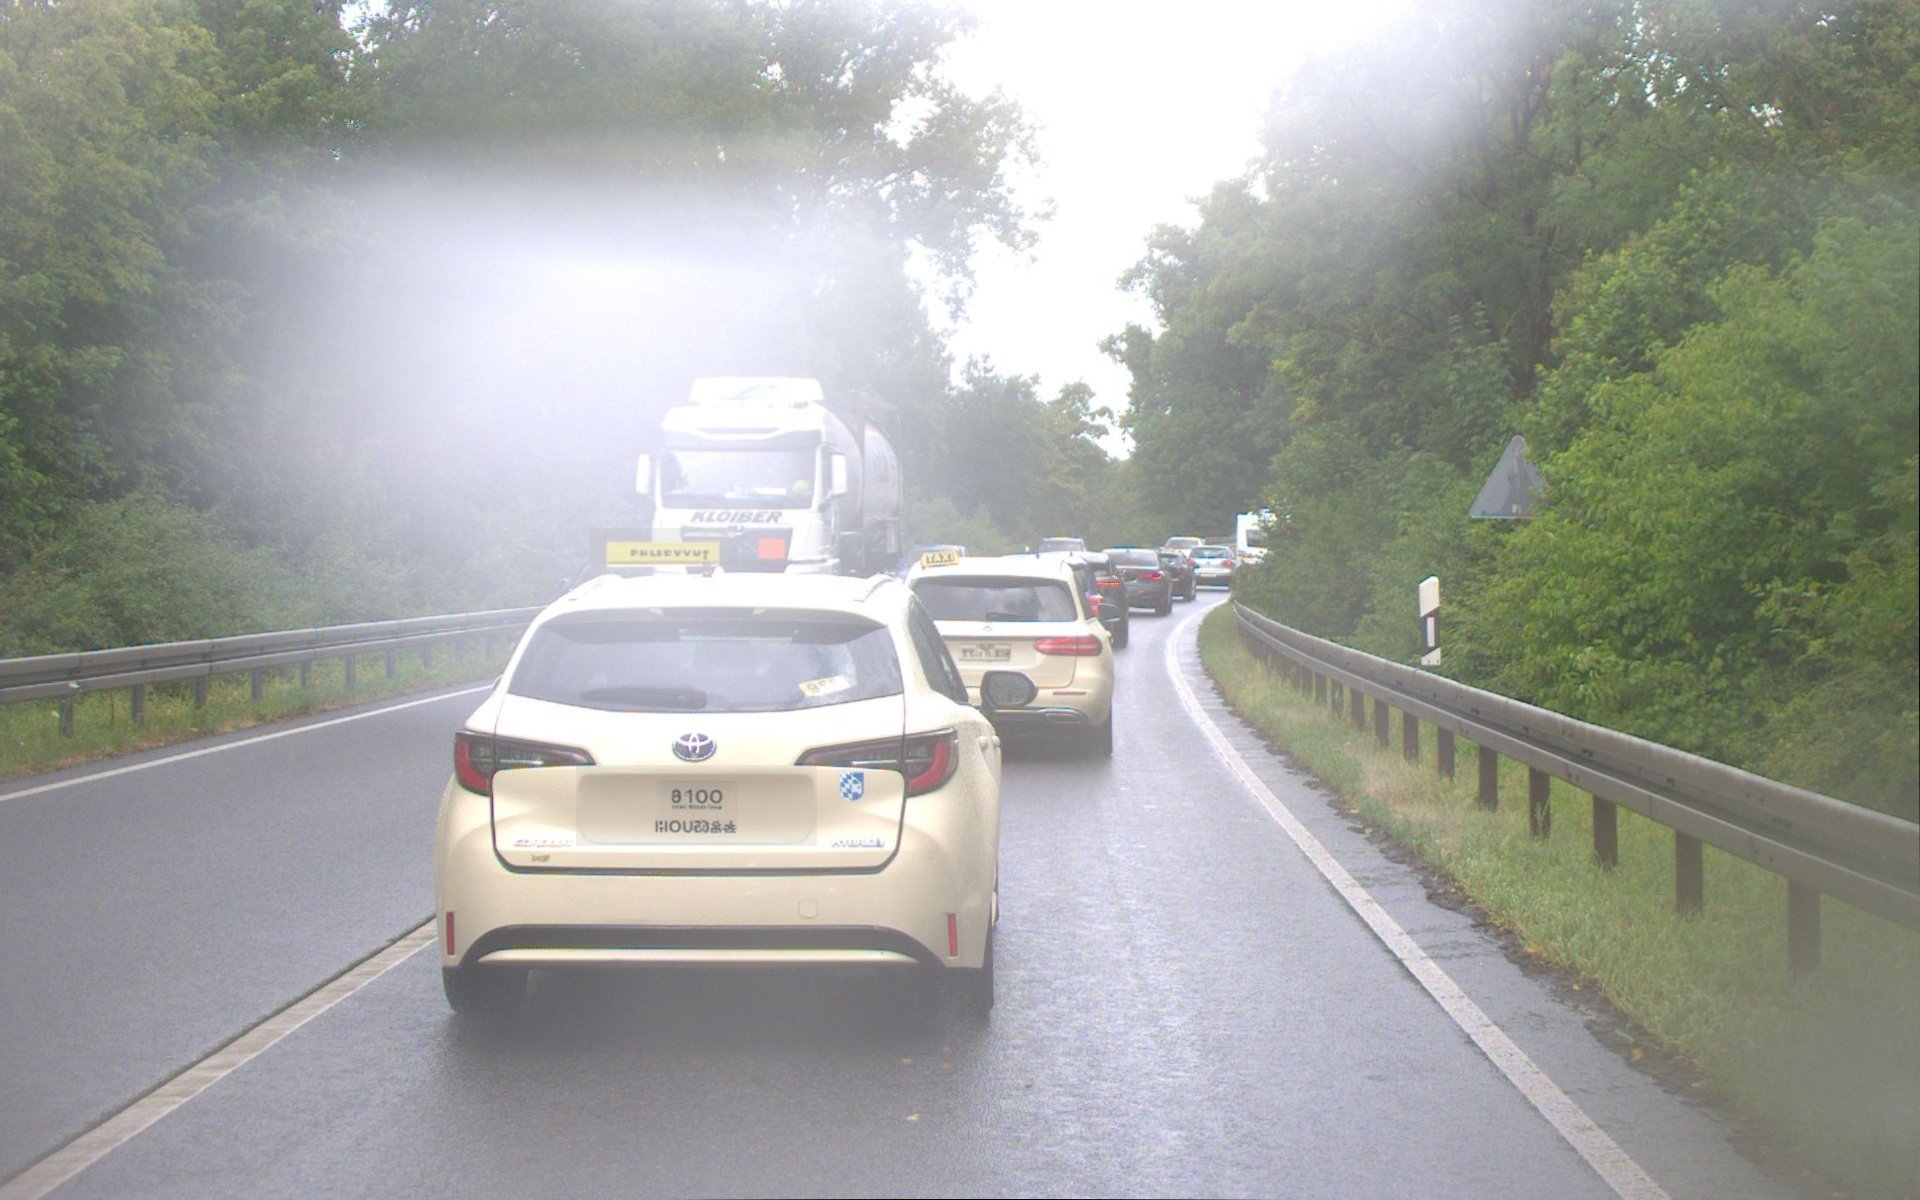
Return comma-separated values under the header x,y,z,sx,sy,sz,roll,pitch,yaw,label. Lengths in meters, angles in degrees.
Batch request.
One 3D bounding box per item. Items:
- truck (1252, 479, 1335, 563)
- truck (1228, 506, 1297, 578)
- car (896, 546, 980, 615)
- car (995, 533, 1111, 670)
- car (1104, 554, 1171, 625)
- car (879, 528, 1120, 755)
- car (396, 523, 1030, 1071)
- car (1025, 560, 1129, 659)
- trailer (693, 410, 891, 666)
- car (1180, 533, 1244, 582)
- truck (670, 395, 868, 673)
x,y,z,sx,sy,sz,roll,pitch,yaw,label
15.167,-3.547,155.961,3.108,3.668,6.997,1,0,11,truck
11.880,-2.248,135.461,2.550,2.704,7.534,1,0,4,truck
-0.485,-0.453,78.783,1.707,1.510,3.912,1,0,2,car
1.092,0.004,40.786,1.300,1.541,3.260,1,0,1,car
3.948,-0.241,76.400,1.167,1.541,2.603,1,0,10,car
0.364,0.279,26.206,1.667,1.575,3.892,1,0,3,car
-0.732,0.565,12.136,1.834,1.575,4.157,1,0,0,car
1.903,0.127,55.356,1.611,1.541,3.814,0,1,3,car
-2.604,-0.957,55.540,2.536,3.812,7.791,1,0,2,trailer
8.292,-1.393,112.827,1.770,1.541,3.812,1,0,9,car
-2.710,-0.927,50.163,2.536,3.812,5.245,1,0,0,truck
